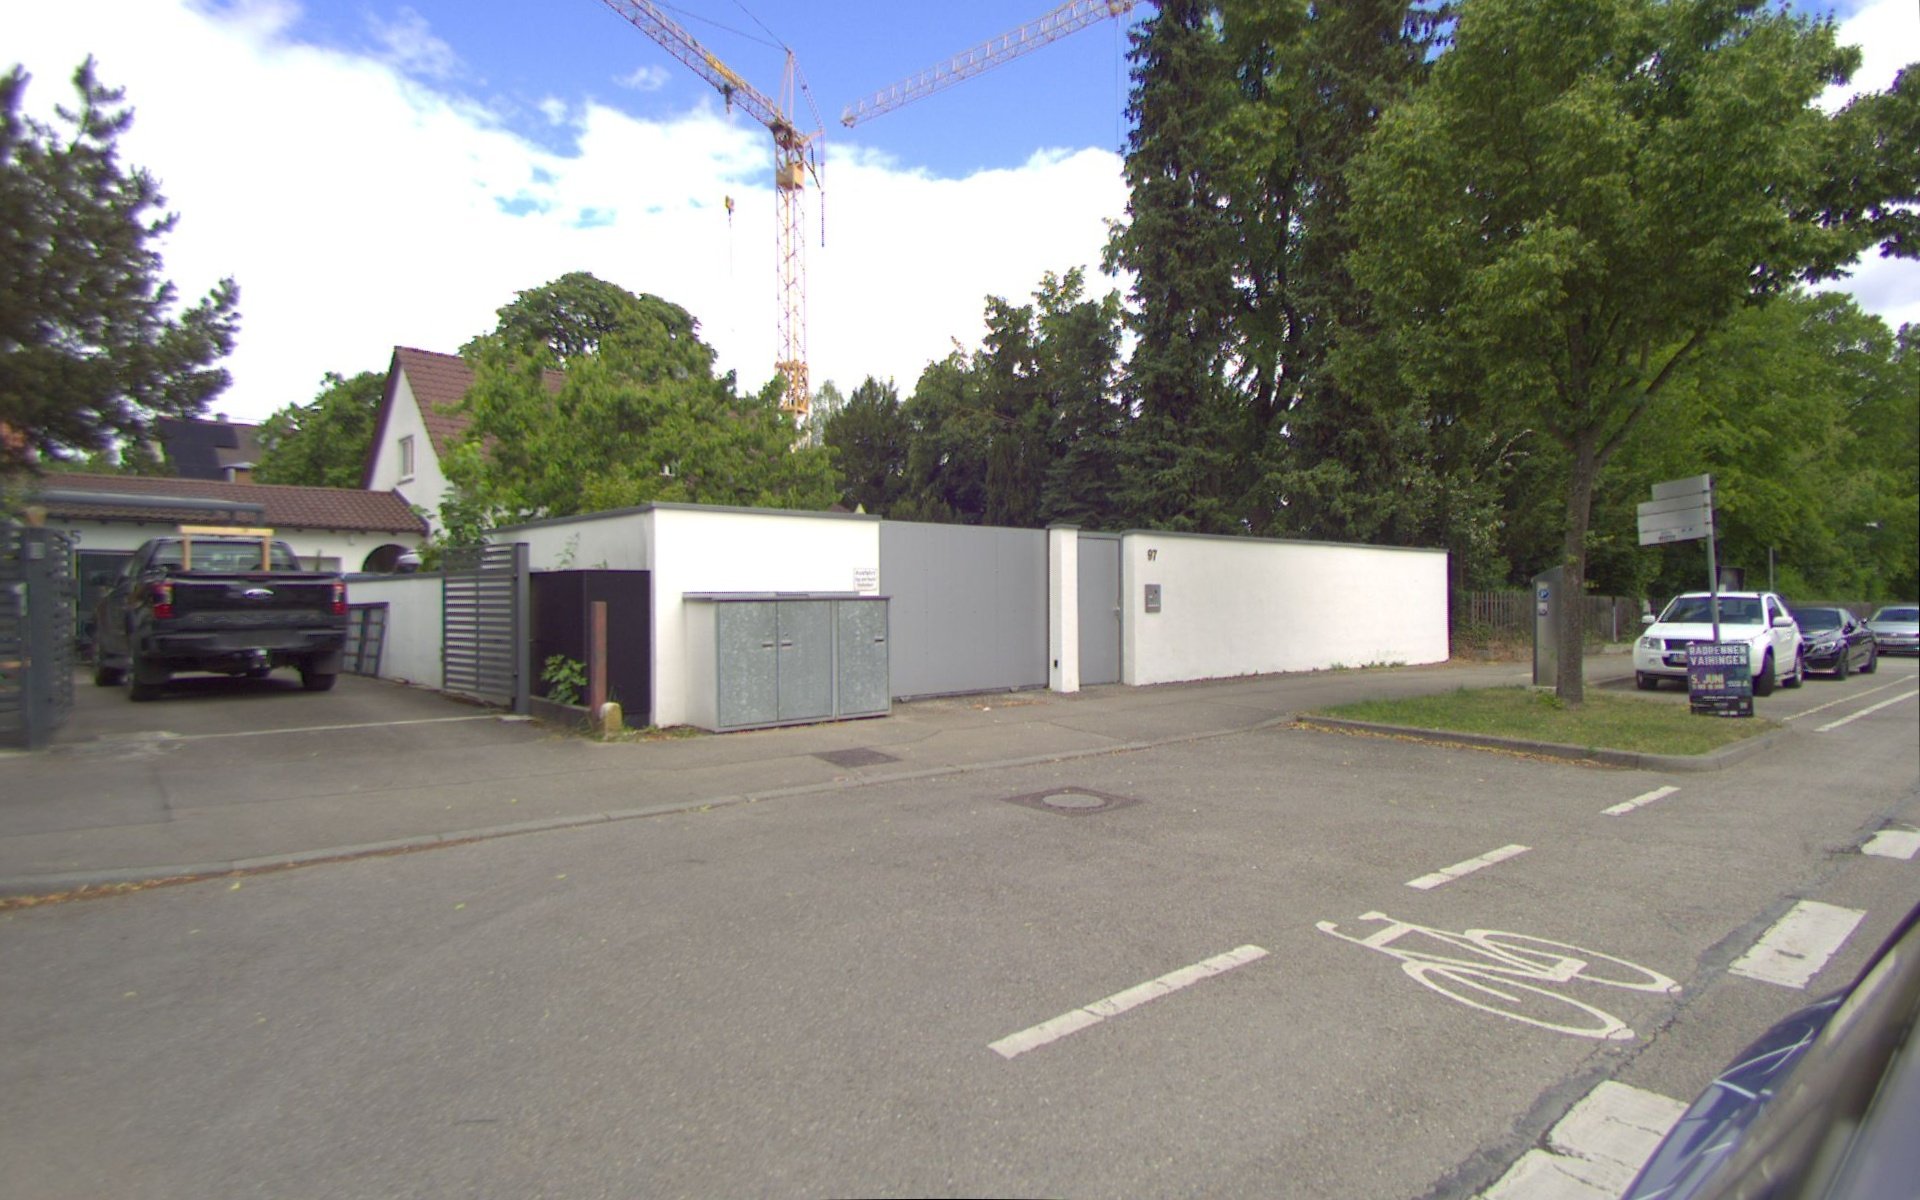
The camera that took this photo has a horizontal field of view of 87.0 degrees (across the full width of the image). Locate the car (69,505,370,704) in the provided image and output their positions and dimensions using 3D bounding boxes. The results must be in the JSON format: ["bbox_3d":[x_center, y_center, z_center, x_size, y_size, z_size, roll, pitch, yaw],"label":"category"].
[{"bbox_3d":[-9.165,0.015,12.324,5.181,1.927,2.017,0,1,43],"label":"car"}]

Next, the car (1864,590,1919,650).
[{"bbox_3d":[28.061,0.537,29.515,4.603,1.631,1.865,-1,-1,-40],"label":"car"}]

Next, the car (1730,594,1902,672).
[{"bbox_3d":[17.745,0.617,20.913,4.518,1.435,1.868,0,0,-38],"label":"car"}]

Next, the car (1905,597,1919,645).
[{"bbox_3d":[32.398,0.672,32.967,4.455,1.530,1.705,1,-1,-39],"label":"car"}]

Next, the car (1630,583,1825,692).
[{"bbox_3d":[13.296,0.544,17.447,4.045,1.663,1.904,-1,1,-41],"label":"car"}]
